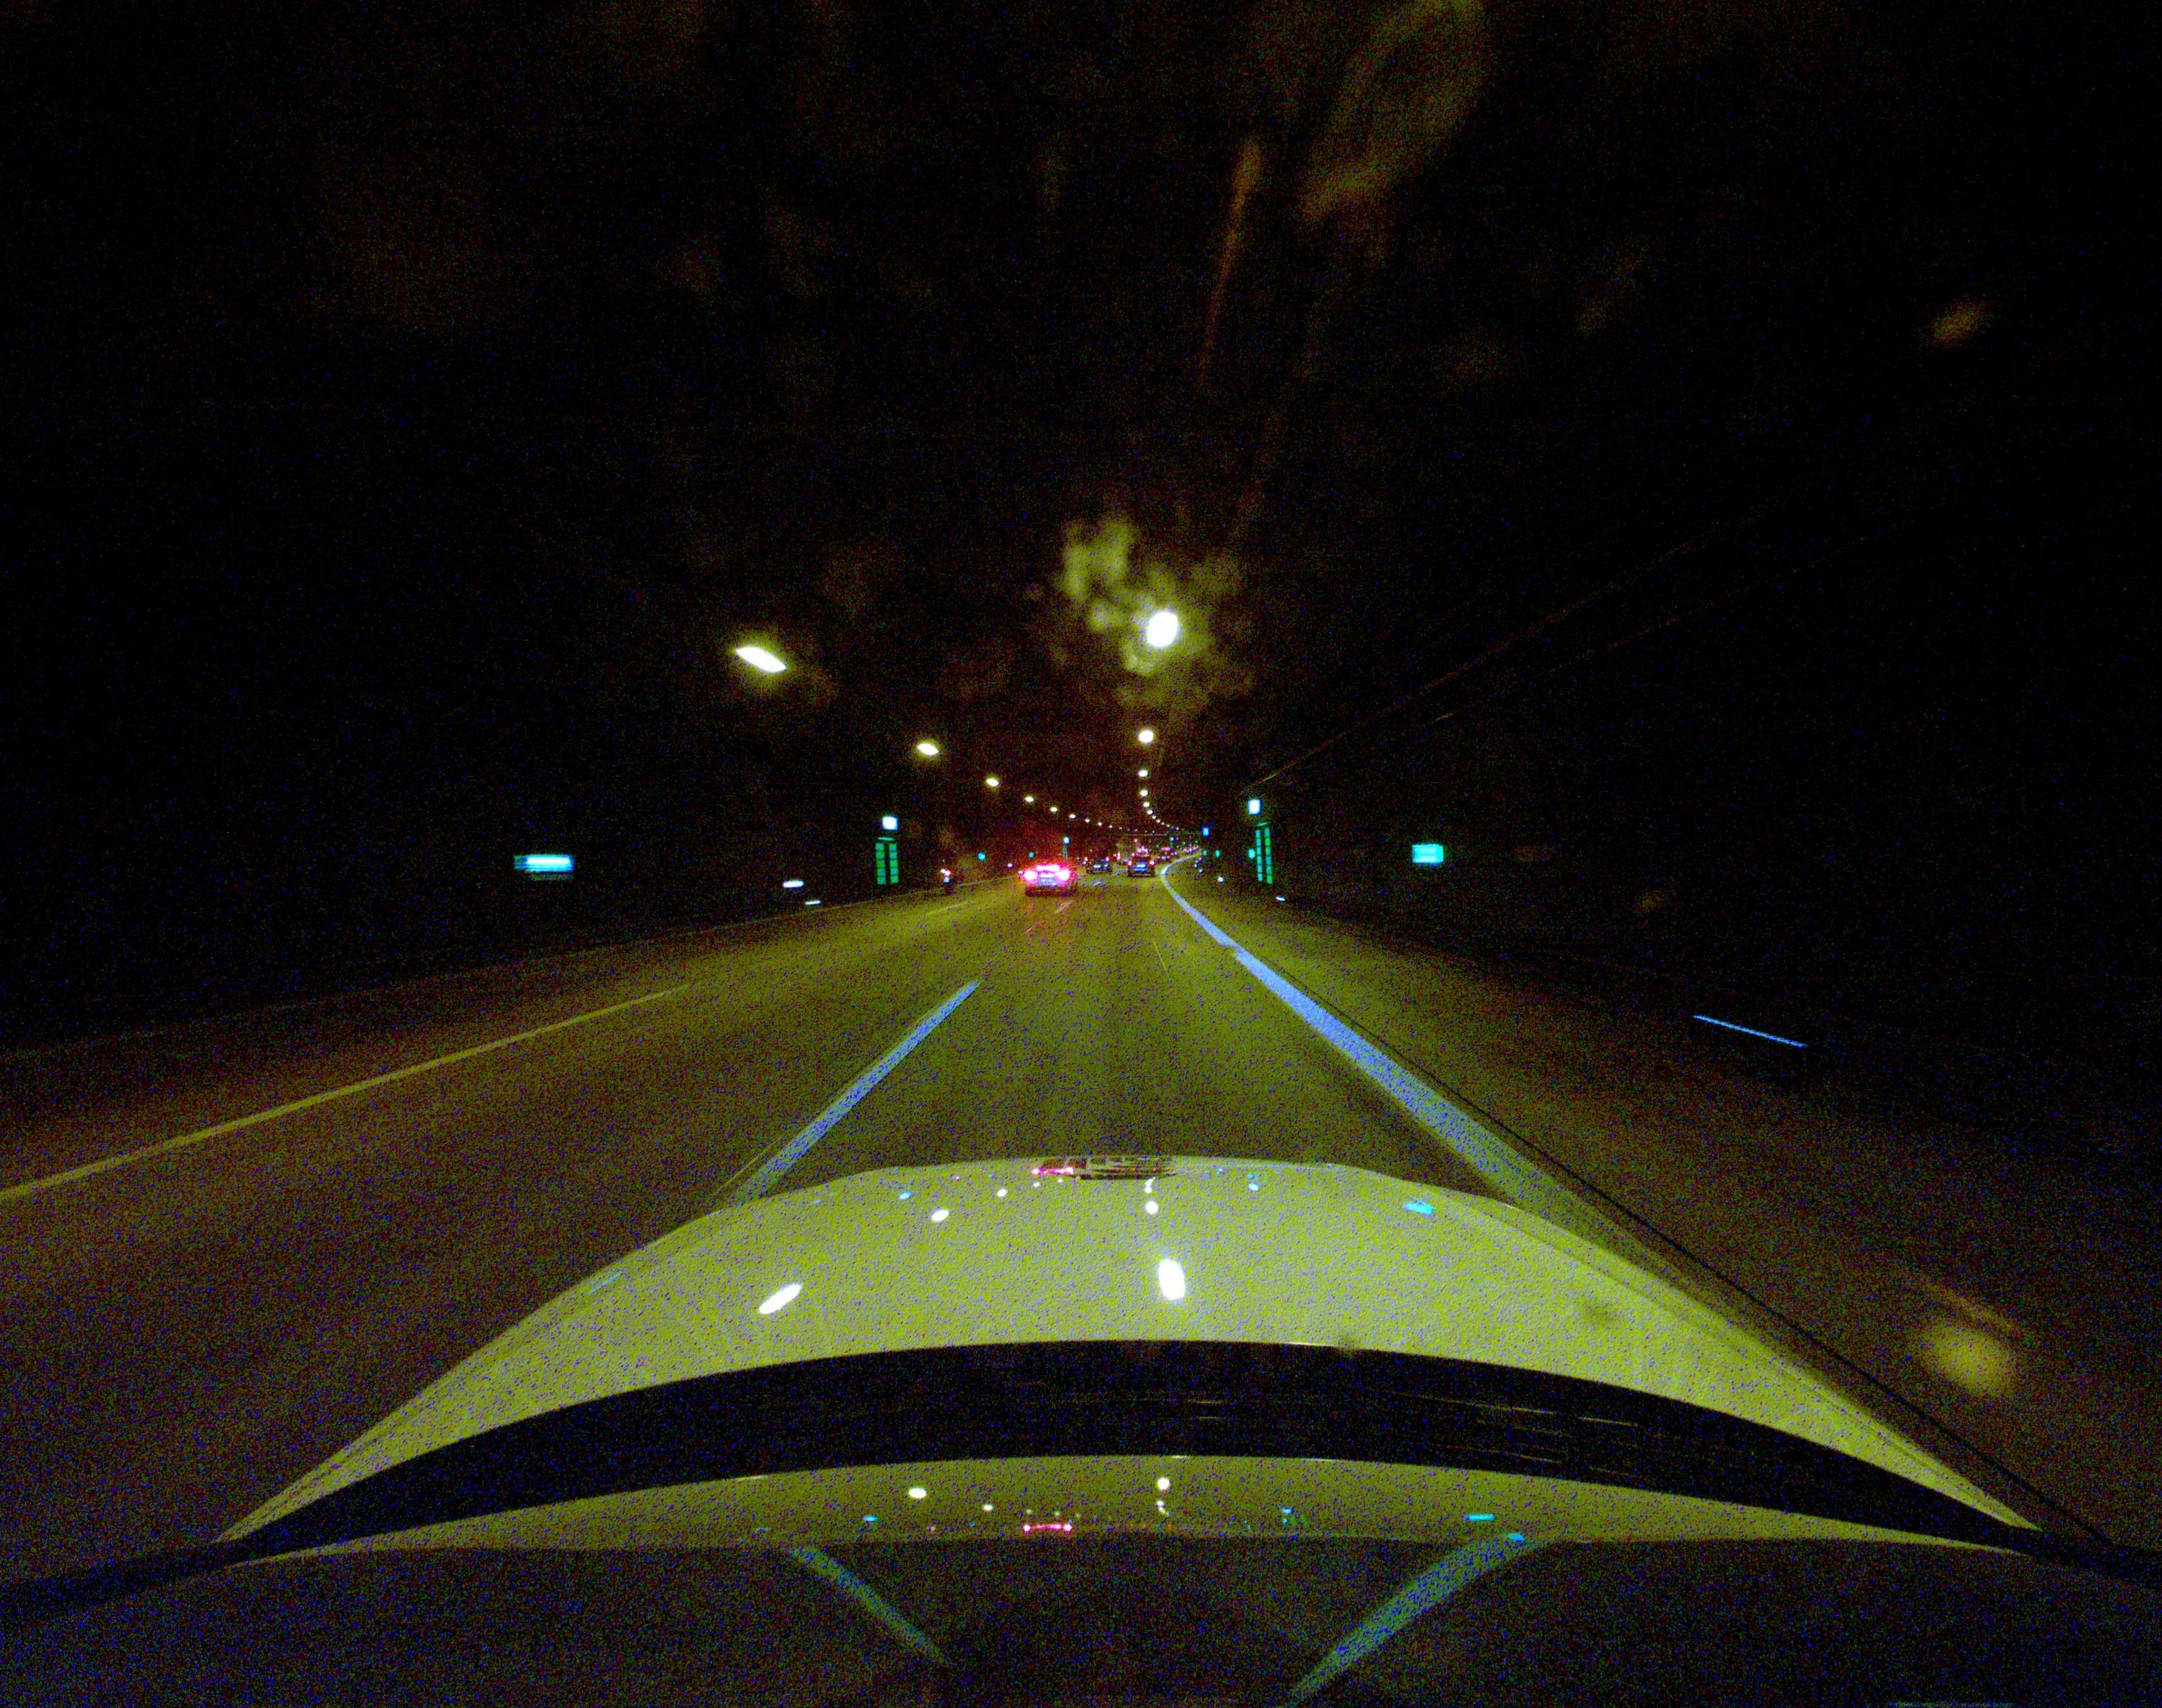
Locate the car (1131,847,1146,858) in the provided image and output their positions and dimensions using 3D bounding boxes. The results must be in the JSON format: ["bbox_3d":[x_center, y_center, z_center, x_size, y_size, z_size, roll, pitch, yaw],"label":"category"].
[{"bbox_3d":[9.261,-0.260,131.238,1.982,1.631,4.011,-1,0,9],"label":"car"}]

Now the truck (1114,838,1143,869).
[{"bbox_3d":[5.943,-0.072,101.057,3.023,3.673,7.406,-1,0,7],"label":"truck"}]

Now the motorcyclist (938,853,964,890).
[{"bbox_3d":[-5.157,0.688,32.412,0.774,1.452,1.070,-1,-1,3],"label":"motorcyclist"}]

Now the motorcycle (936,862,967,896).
[{"bbox_3d":[-5.122,0.962,32.333,0.680,1.297,2.401,-1,0,4],"label":"motorcycle"}]

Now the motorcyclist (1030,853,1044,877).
[{"bbox_3d":[-2.746,0.698,50.834,0.805,1.448,1.861,-1,-1,-5],"label":"motorcyclist"}]

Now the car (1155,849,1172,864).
[{"bbox_3d":[10.604,0.296,104.454,1.846,1.854,4.010,-1,0,9],"label":"car"}]

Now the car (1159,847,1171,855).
[{"bbox_3d":[18.996,-0.672,183.968,1.916,1.642,4.015,-1,-1,14],"label":"car"}]

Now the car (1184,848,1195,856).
[{"bbox_3d":[22.510,-0.436,168.907,1.918,1.642,4.012,-1,-1,10],"label":"car"}]

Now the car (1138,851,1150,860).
[{"bbox_3d":[11.714,0.229,150.380,1.920,1.642,4.008,-1,0,8],"label":"car"}]

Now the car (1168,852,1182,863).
[{"bbox_3d":[15.341,0.607,132.736,1.939,1.772,4.009,-1,-1,9],"label":"car"}]

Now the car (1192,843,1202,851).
[{"bbox_3d":[29.260,-1.774,205.222,1.980,2.014,4.013,-1,-1,12],"label":"car"}]

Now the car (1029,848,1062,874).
[{"bbox_3d":[-2.771,0.559,65.084,1.983,2.013,4.008,-1,0,7],"label":"car"}]

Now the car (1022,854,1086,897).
[{"bbox_3d":[-0.975,0.799,32.447,1.693,1.419,5.071,-1,1,8],"label":"car"}]

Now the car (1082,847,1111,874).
[{"bbox_3d":[1.281,0.452,64.523,1.900,1.944,3.878,-1,2,6],"label":"car"}]

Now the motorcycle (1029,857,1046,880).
[{"bbox_3d":[-2.757,0.892,50.809,0.925,1.434,2.957,0,-1,-6],"label":"motorcycle"}]

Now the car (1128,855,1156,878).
[{"bbox_3d":[4.124,0.822,54.534,1.733,1.464,3.878,-1,-1,6],"label":"car"}]

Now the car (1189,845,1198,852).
[{"bbox_3d":[26.429,-1.290,190.827,1.981,1.632,4.011,-1,-1,10],"label":"car"}]
